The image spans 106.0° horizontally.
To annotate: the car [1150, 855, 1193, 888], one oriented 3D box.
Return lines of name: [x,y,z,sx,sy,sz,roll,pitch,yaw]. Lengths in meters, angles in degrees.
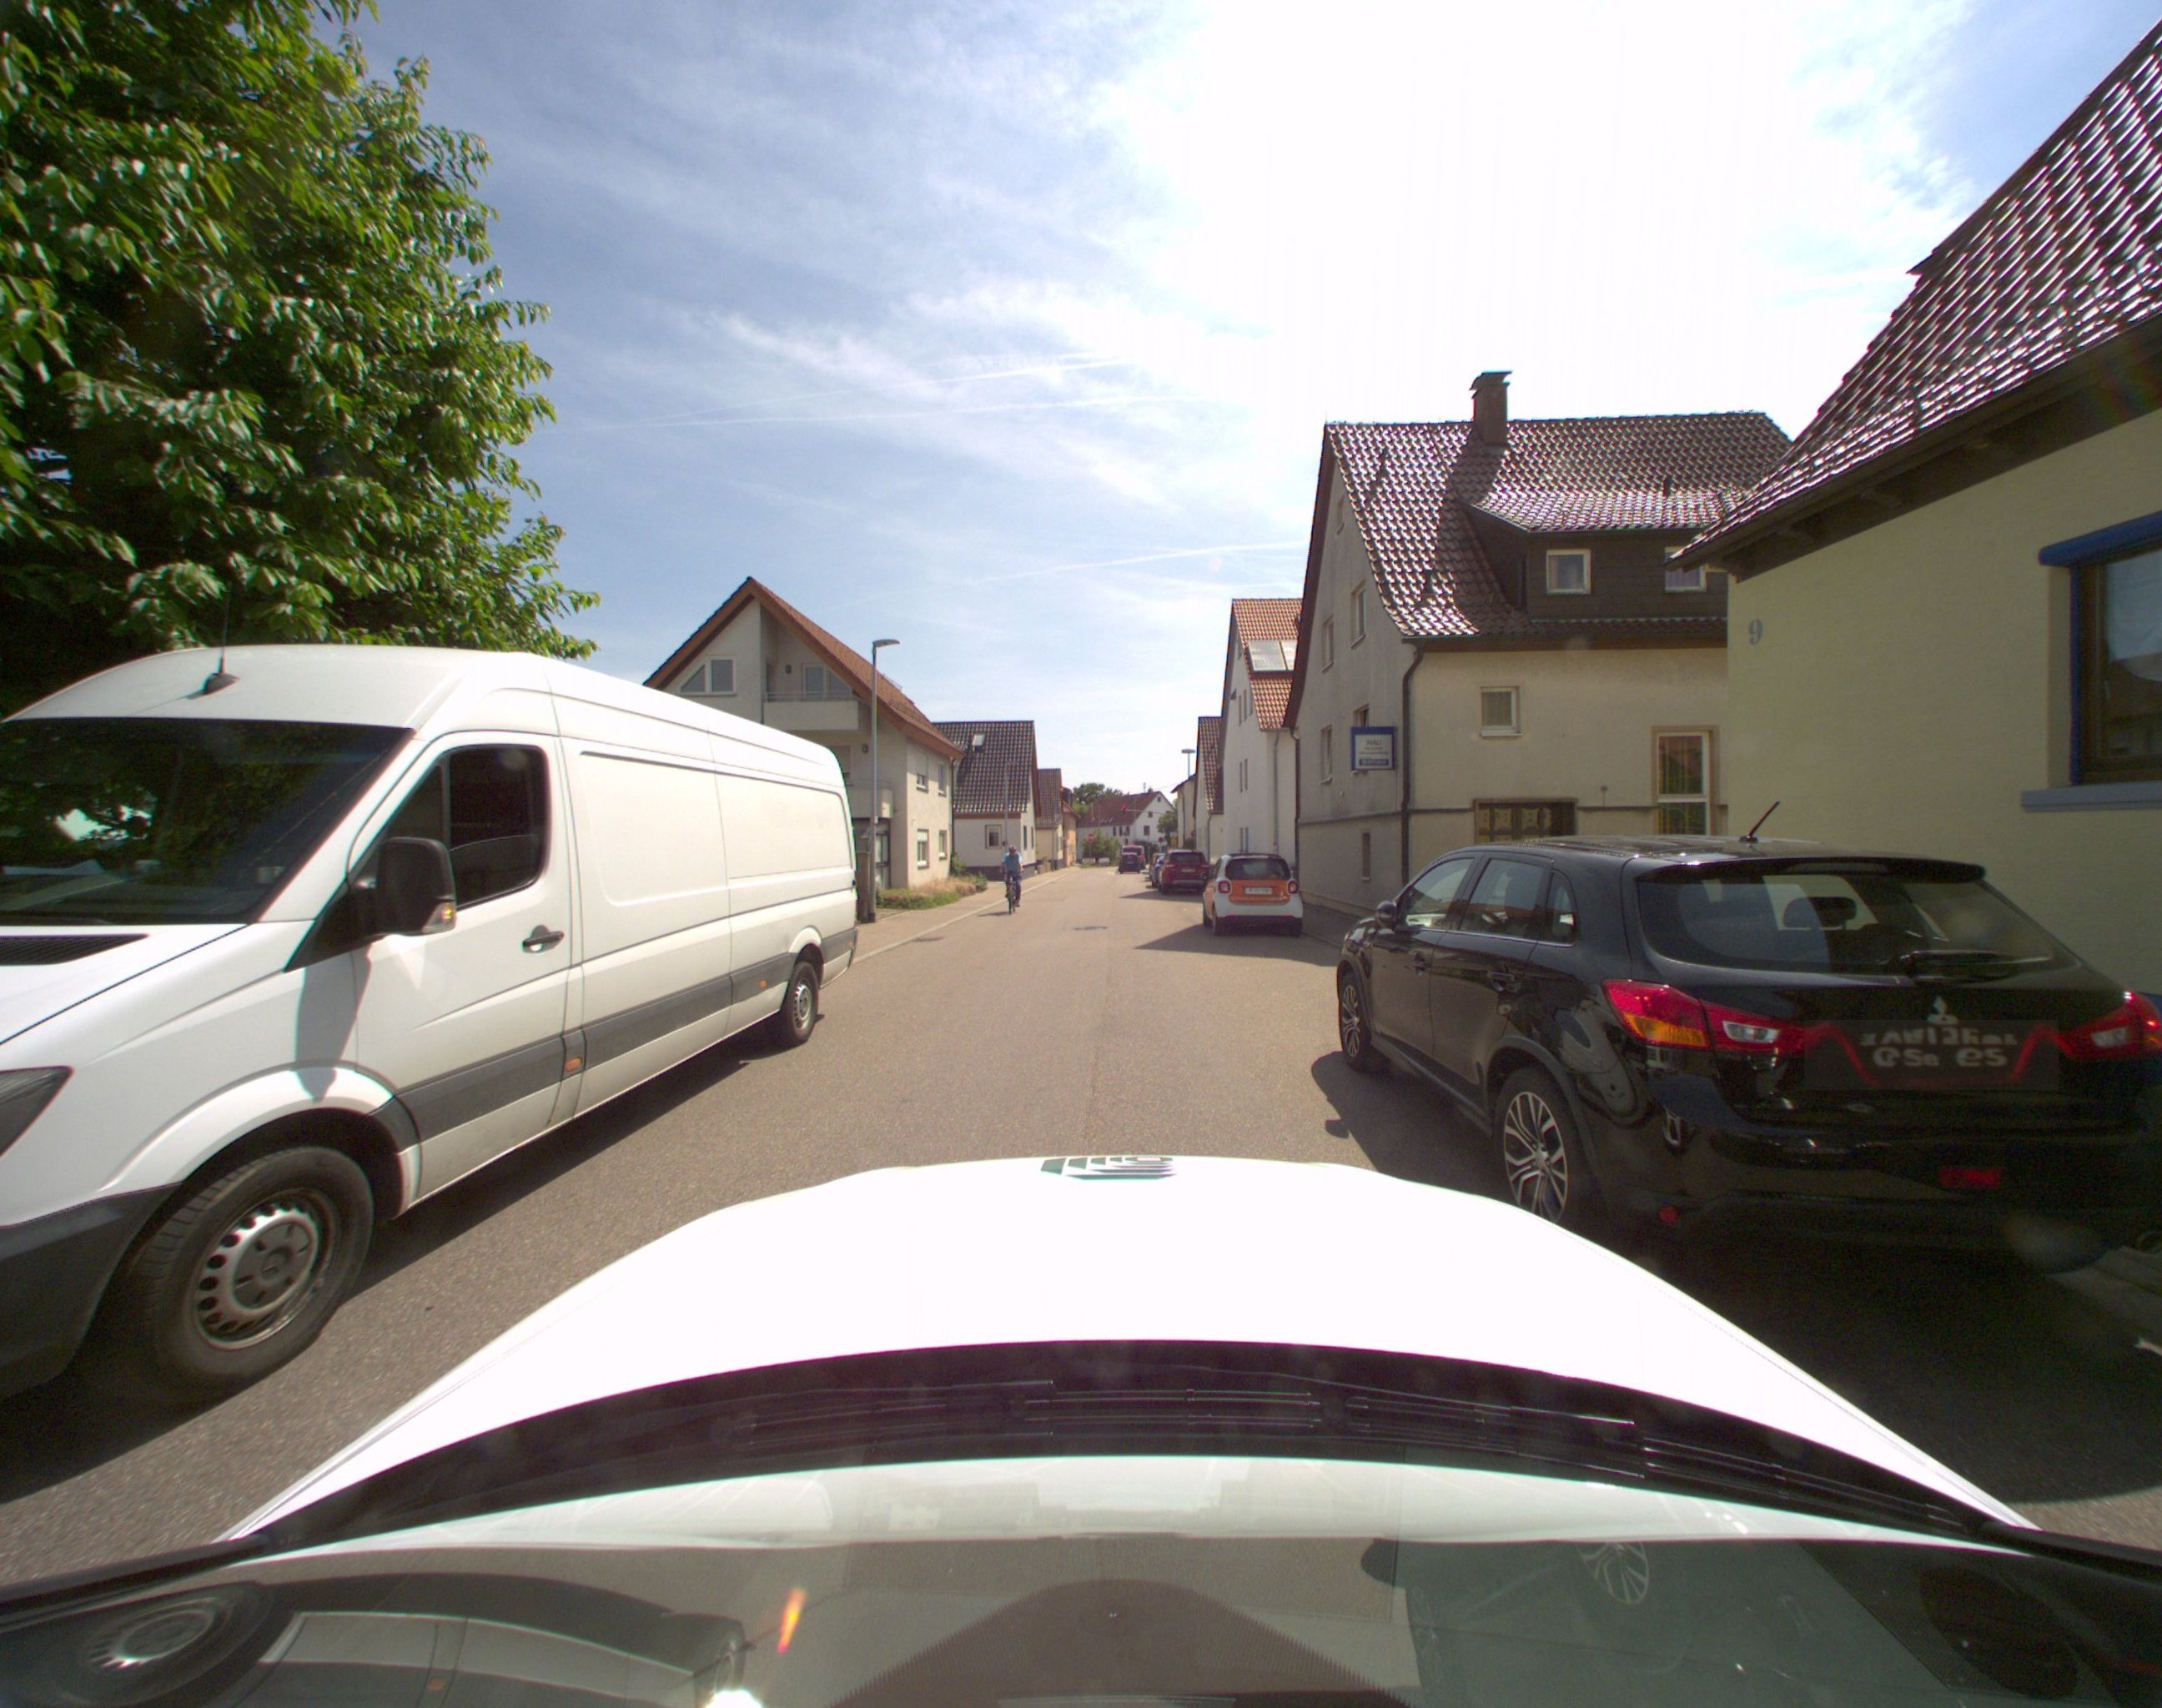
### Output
car: [4.118,0.769,37.669,1.755,1.424,4.596,0,0,4]

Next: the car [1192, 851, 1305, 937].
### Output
car: [3.262,0.731,16.355,1.668,1.559,3.040,0,0,0]

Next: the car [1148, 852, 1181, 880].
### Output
car: [4.842,0.660,47.472,1.562,1.545,3.449,0,0,0]

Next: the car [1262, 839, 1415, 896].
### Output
car: [8.512,0.435,27.223,4.501,1.843,2.000,0,0,-1]

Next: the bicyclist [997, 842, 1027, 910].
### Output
bicyclist: [-1.867,0.572,22.083,0.710,1.799,0.942,0,0,0]

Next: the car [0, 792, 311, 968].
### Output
car: [-15.280,0.387,12.630,4.786,2.492,1.966,-1,0,0]

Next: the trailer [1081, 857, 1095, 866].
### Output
trailer: [0.792,0.878,92.627,1.495,0.927,1.013,1,0,4]

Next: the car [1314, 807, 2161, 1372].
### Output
car: [2.639,0.662,4.459,1.721,1.600,4.256,0,0,3]

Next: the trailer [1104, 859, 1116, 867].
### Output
trailer: [3.255,1.017,92.141,1.305,0.970,0.934,0,0,4]

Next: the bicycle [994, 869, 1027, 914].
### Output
bicycle: [-1.898,0.995,22.189,0.668,1.132,2.190,0,0,1]

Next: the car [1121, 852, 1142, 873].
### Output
car: [3.901,0.659,62.568,1.508,1.567,3.189,0,0,6]

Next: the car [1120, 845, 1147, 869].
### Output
car: [5.007,0.299,76.795,2.116,2.158,4.747,-1,0,8]

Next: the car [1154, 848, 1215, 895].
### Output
car: [3.948,0.639,31.596,1.869,1.700,4.183,0,0,0]

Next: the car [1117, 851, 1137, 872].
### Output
car: [3.809,0.602,67.405,1.508,1.624,3.189,-1,0,6]

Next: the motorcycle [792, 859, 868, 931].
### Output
motorcycle: [-5.223,0.804,17.102,0.780,1.393,2.353,-1,0,2]

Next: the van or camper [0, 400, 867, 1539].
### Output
van or camper: [-3.408,0.251,4.917,2.176,2.571,6.811,0,0,2]
